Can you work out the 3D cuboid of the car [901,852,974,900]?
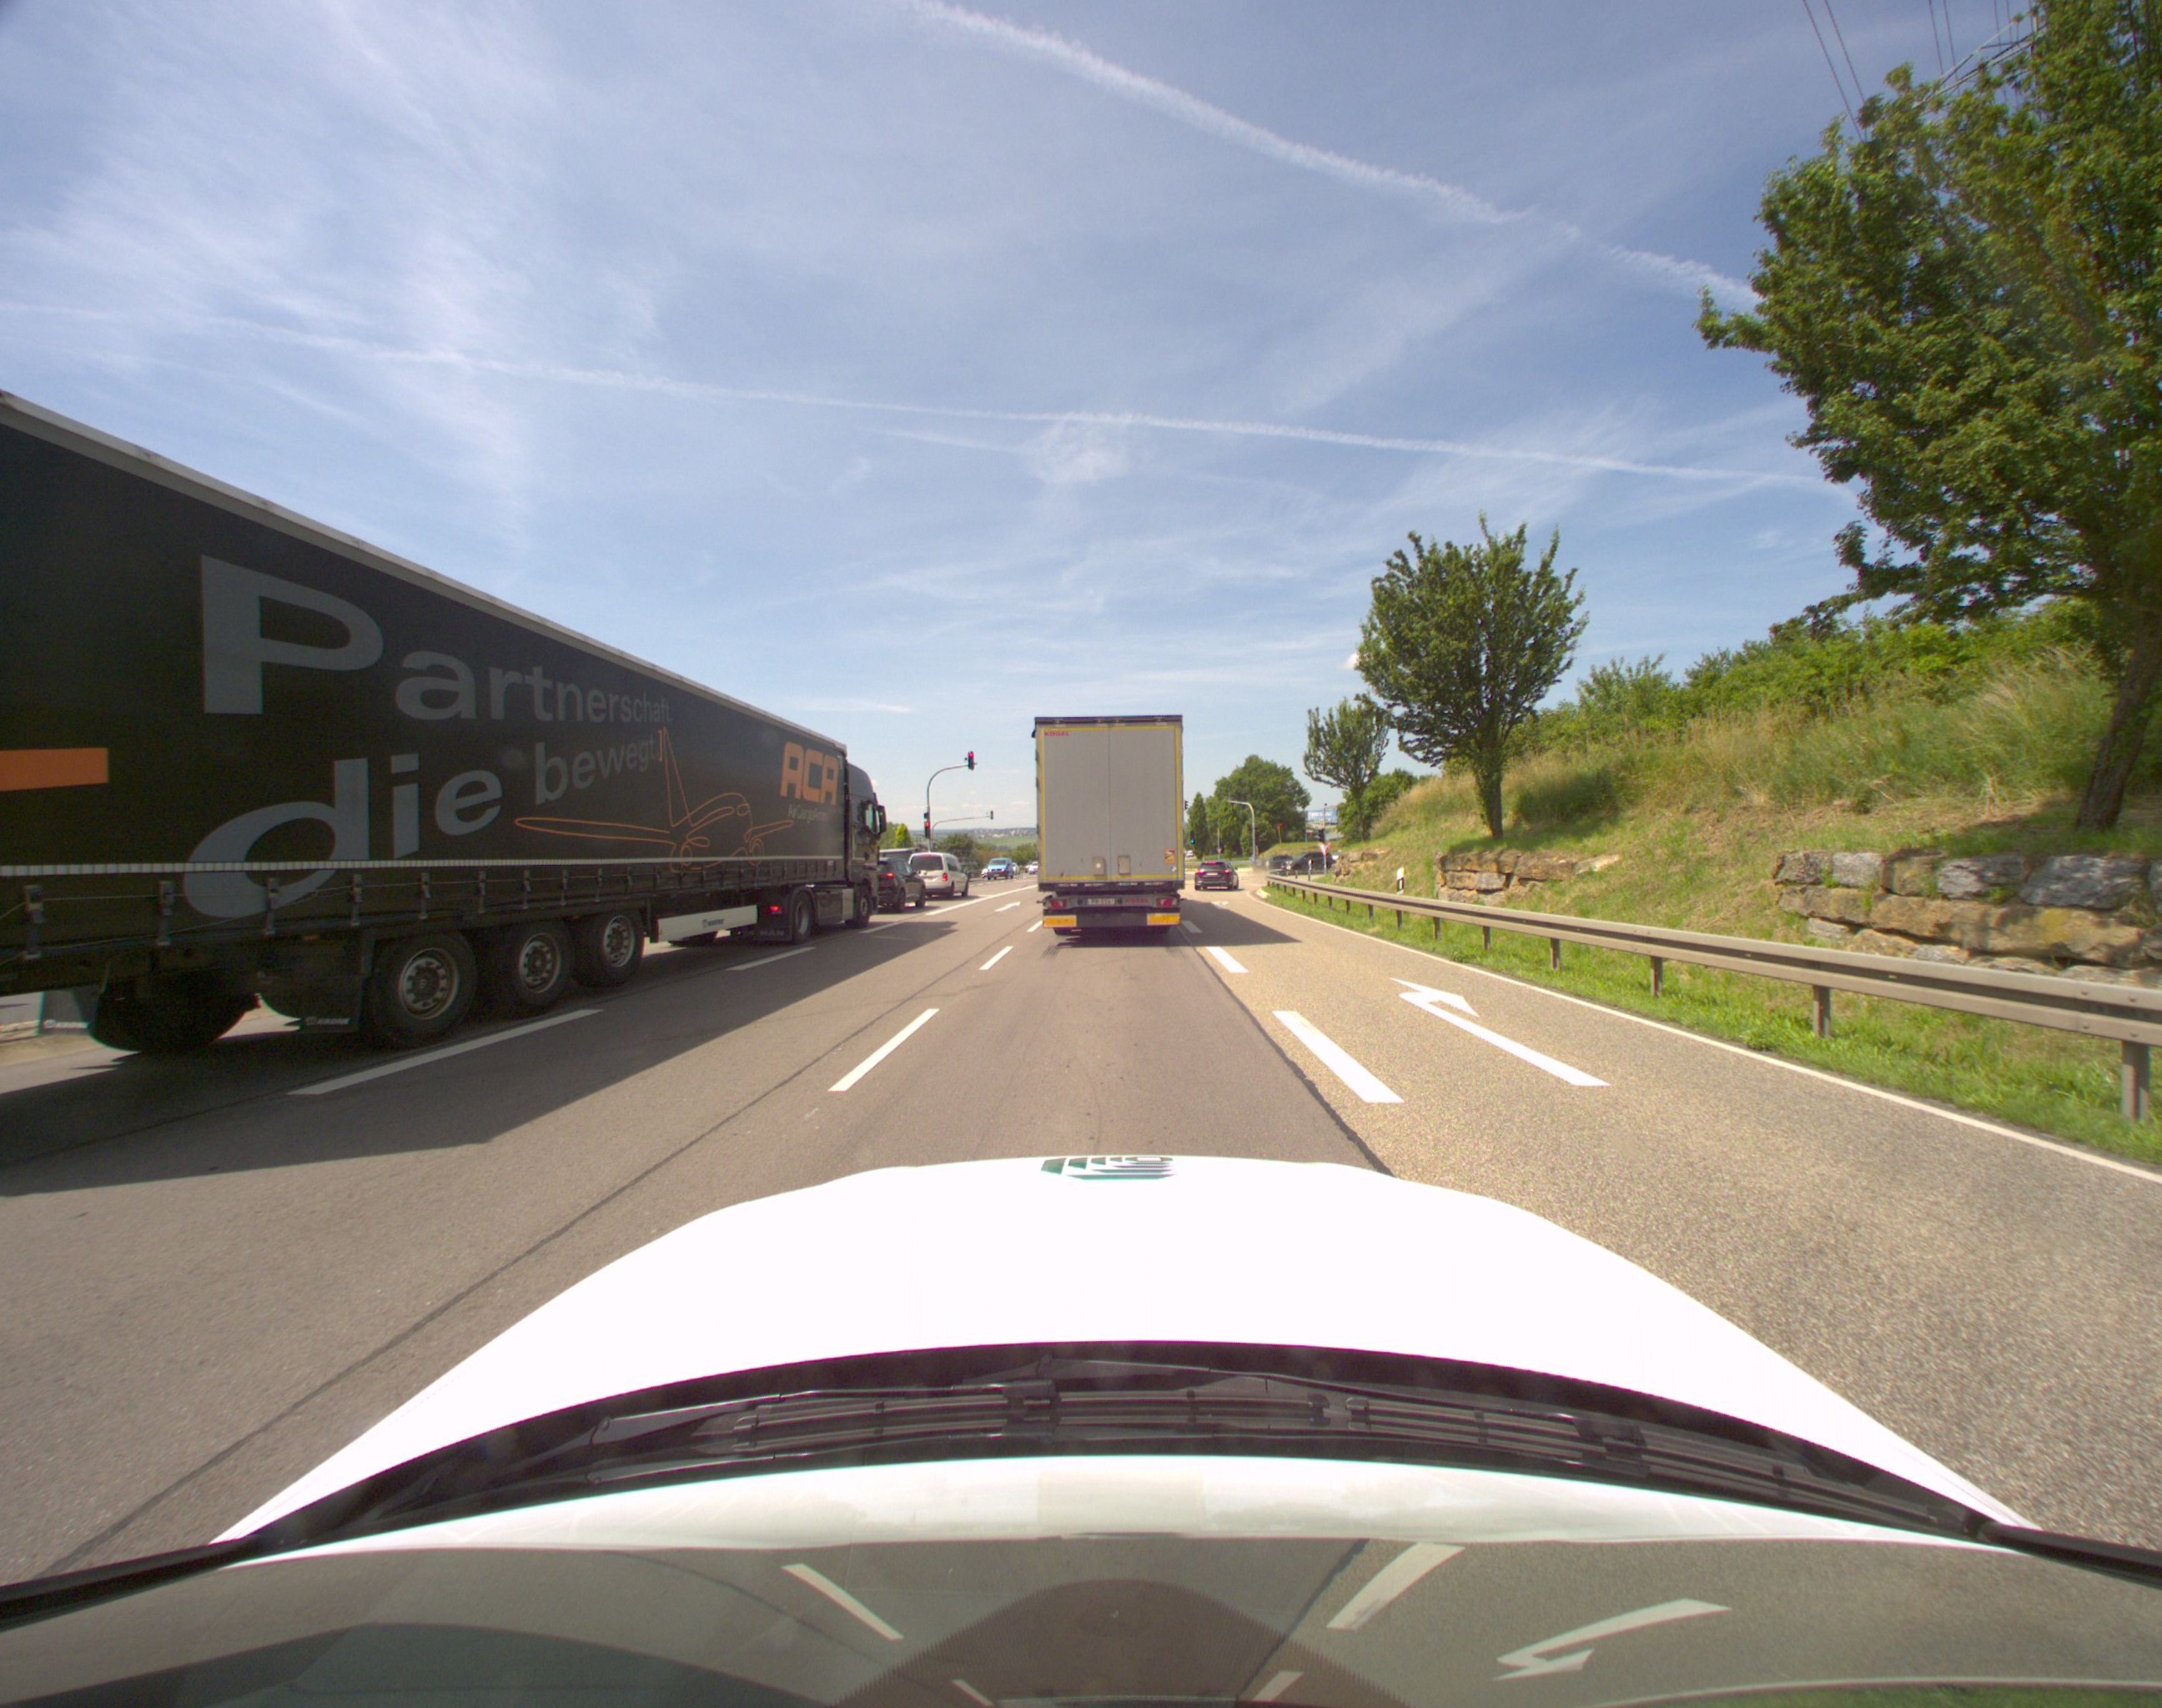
[{"bbox_3d":[-5.774,0.856,33.276,1.759,1.798,4.758,-1,0,4],"label":"car"}]

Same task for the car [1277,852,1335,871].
[{"bbox_3d":[19.064,0.651,69.079,4.356,1.511,1.711,-1,-1,-9],"label":"car"}]

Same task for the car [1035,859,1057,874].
[{"bbox_3d":[-3.730,1.369,87.619,1.747,1.469,4.201,2,-1,5],"label":"car"}]

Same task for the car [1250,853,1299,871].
[{"bbox_3d":[17.906,0.730,75.447,3.982,1.511,1.712,-1,-1,-6],"label":"car"}]

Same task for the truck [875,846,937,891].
[{"bbox_3d":[-12.582,1.021,58.947,2.787,3.014,5.995,-2,-1,4],"label":"truck"}]

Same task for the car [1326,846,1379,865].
[{"bbox_3d":[25.700,0.159,77.101,4.352,1.592,1.776,-1,-1,-6],"label":"car"}]

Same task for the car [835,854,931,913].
[{"bbox_3d":[-6.042,0.857,25.389,1.849,1.657,4.349,-1,0,1],"label":"car"}]

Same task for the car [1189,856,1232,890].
[{"bbox_3d":[6.303,0.907,39.887,1.738,1.532,4.303,-1,-1,4],"label":"car"}]

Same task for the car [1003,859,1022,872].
[{"bbox_3d":[-8.520,1.407,101.144,1.636,1.497,3.806,-3,-1,5],"label":"car"}]

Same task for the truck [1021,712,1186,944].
[{"bbox_3d":[0.555,-0.388,19.537,2.789,3.930,11.345,0,-1,2],"label":"truck"}]

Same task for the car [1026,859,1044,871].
[{"bbox_3d":[-5.653,1.396,100.477,1.765,1.434,4.003,-2,-1,3],"label":"car"}]

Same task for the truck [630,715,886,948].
[{"bbox_3d":[-6.309,-0.365,17.056,2.772,4.013,5.974,-1,-1,2],"label":"truck"}]

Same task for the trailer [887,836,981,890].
[{"bbox_3d":[-11.788,0.802,68.565,2.627,3.763,19.824,-2,-1,5],"label":"trailer"}]

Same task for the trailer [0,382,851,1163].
[{"bbox_3d":[-6.555,-0.350,10.439,2.772,3.913,13.793,-1,-1,2],"label":"trailer"}]

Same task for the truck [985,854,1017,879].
[{"bbox_3d":[-7.424,1.142,75.922,1.955,2.157,4.633,-2,-1,7],"label":"truck"}]

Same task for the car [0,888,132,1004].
[{"bbox_3d":[-15.062,1.287,10.374,1.508,1.481,3.704,-4,0,1],"label":"car"}]
